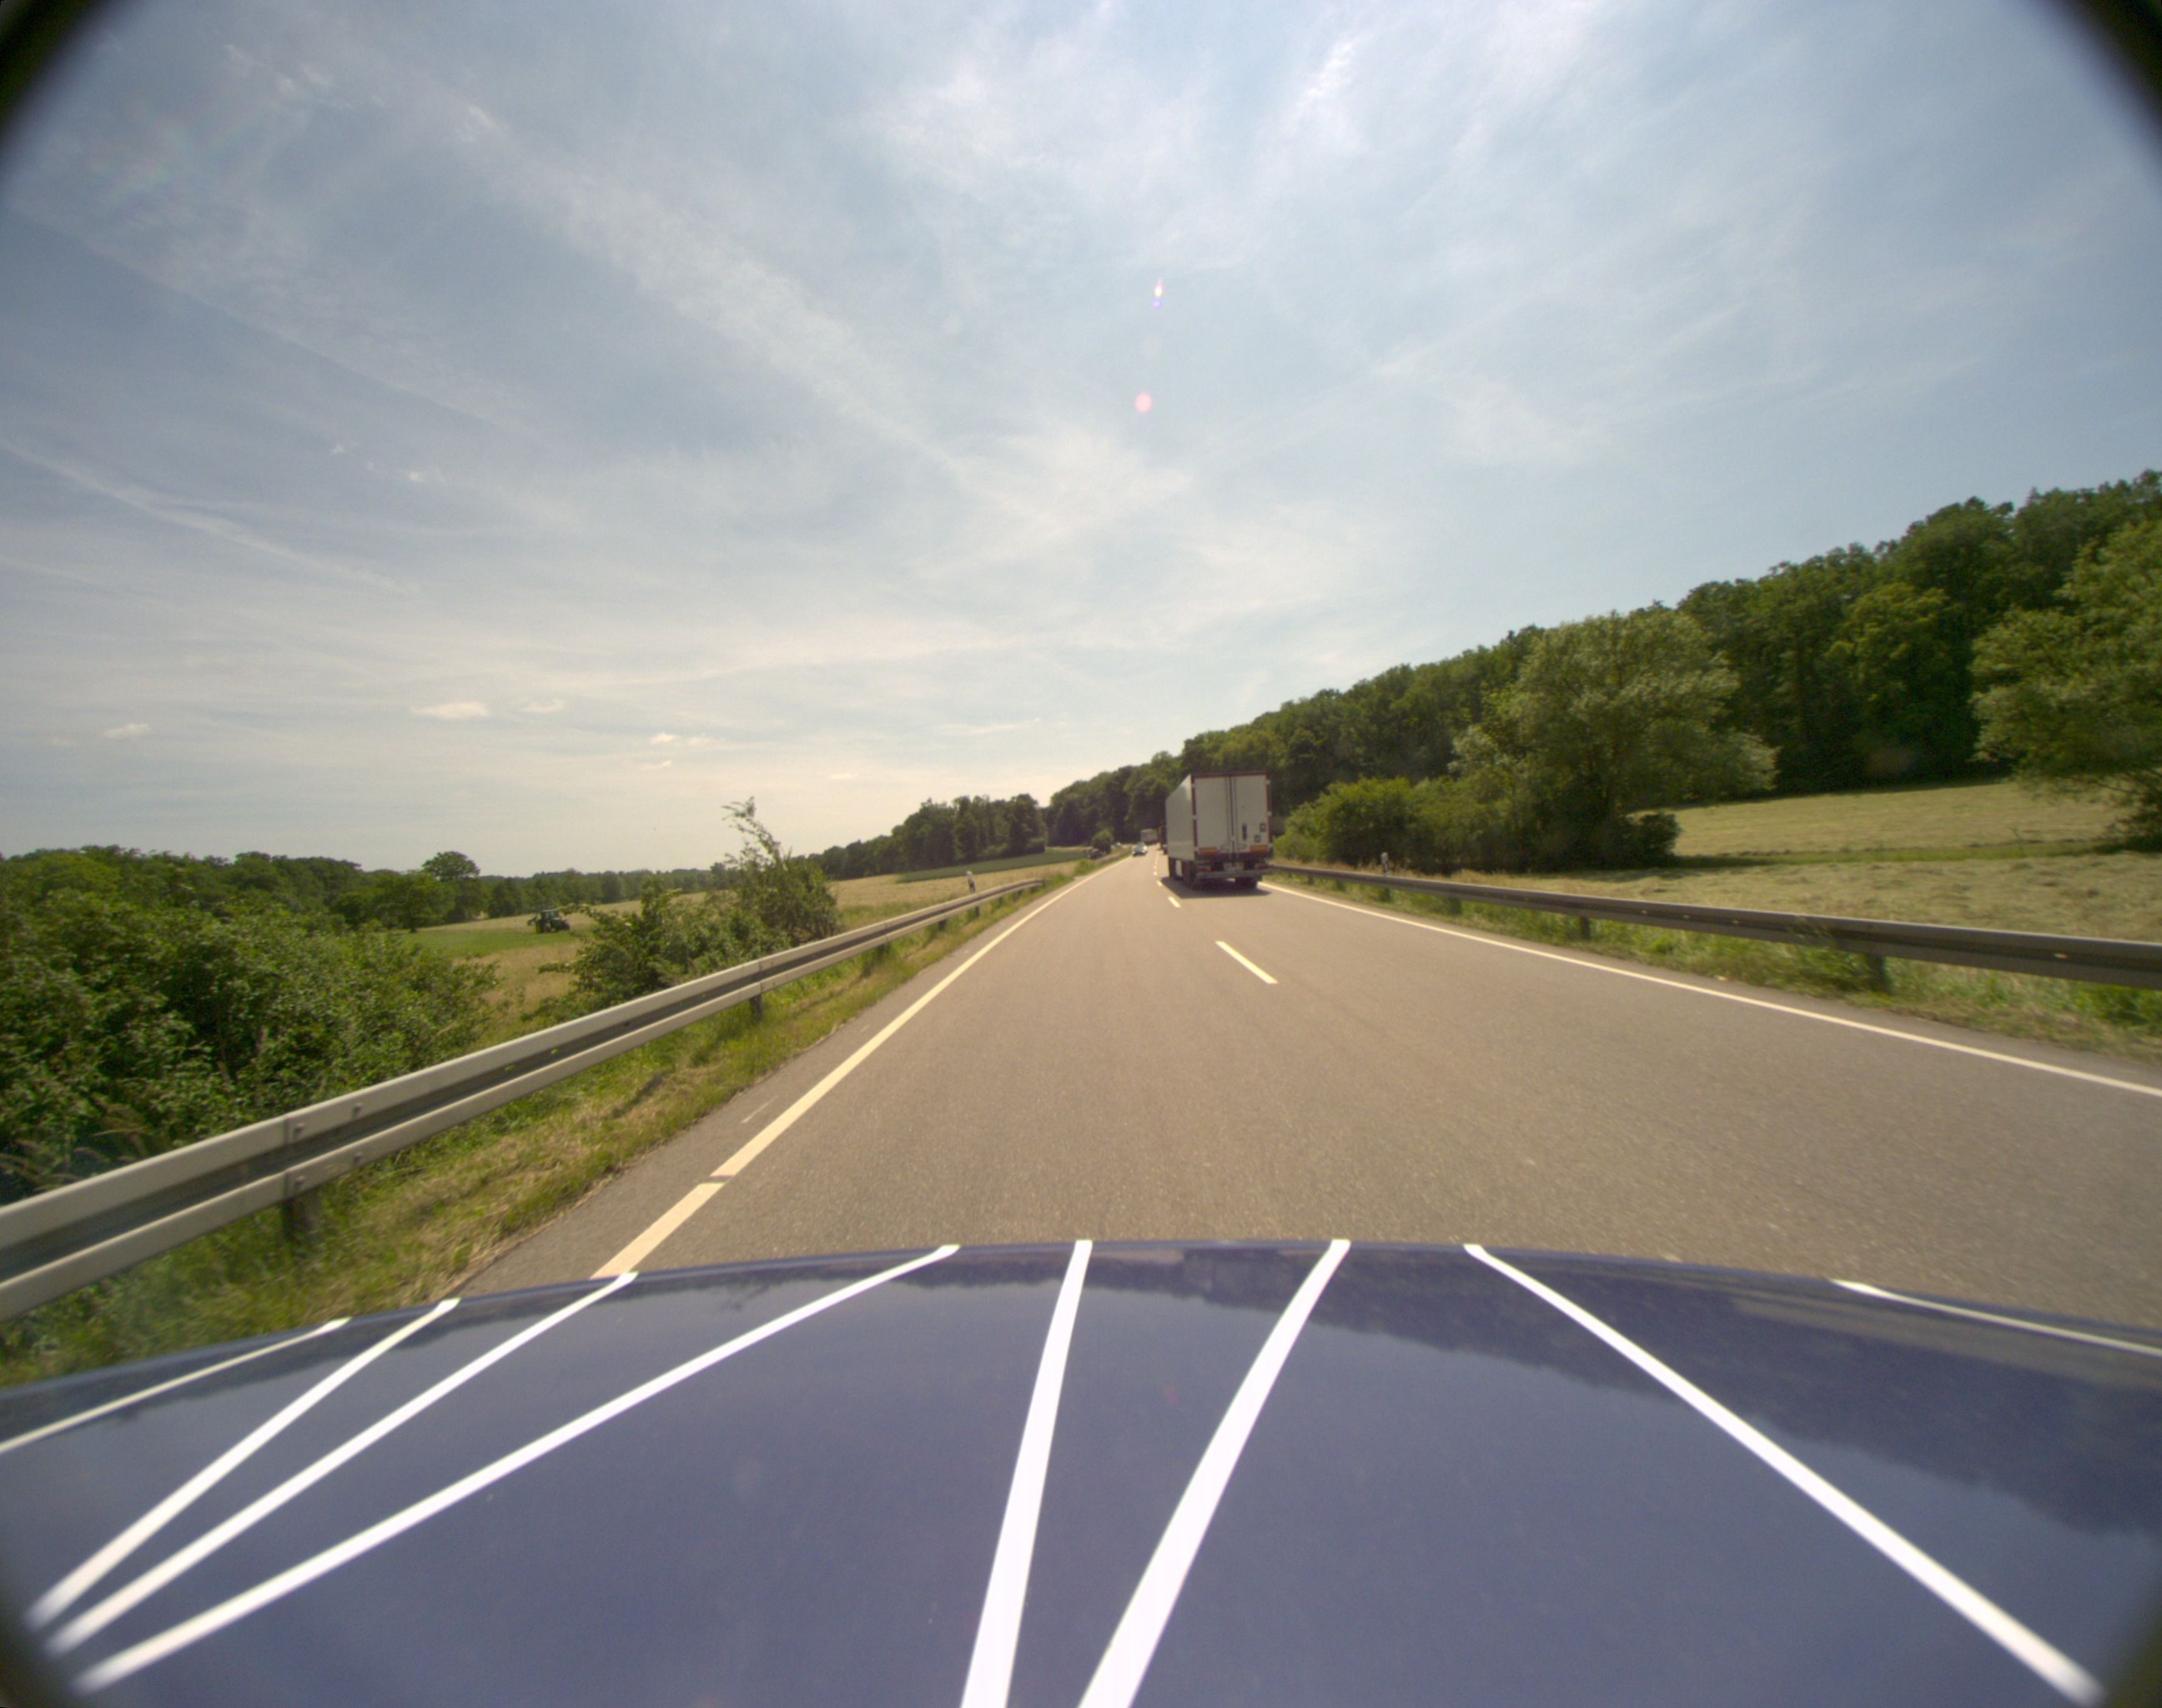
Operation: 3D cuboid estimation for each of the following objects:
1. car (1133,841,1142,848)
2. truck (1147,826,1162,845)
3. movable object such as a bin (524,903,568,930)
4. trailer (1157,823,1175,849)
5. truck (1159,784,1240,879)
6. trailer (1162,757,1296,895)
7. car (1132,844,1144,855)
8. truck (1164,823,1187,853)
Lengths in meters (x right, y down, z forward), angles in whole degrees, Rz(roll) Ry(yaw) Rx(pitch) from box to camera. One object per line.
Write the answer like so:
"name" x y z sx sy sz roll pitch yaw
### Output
"car" 12.338 -2.006 165.259 1.622 1.428 3.442 -4 1 -1
"truck" 19.511 -4.888 202.667 3.182 4.493 13.322 -3 1 4
"movable object such as a bin" -62.950 7.373 89.289 6.211 2.854 1.956 -5 1 34
"trailer" 15.827 -3.326 140.999 2.709 4.493 14.260 -4 1 7
"truck" 5.883 -1.105 38.772 3.381 4.375 5.446 -2 1 3
"trailer" 5.560 -0.974 31.646 3.381 4.375 13.747 -2 0 3
"car" 8.045 -0.705 107.158 1.621 1.428 3.444 -4 1 6
"truck" 12.979 -2.212 104.017 2.708 3.629 10.103 -4 1 8
